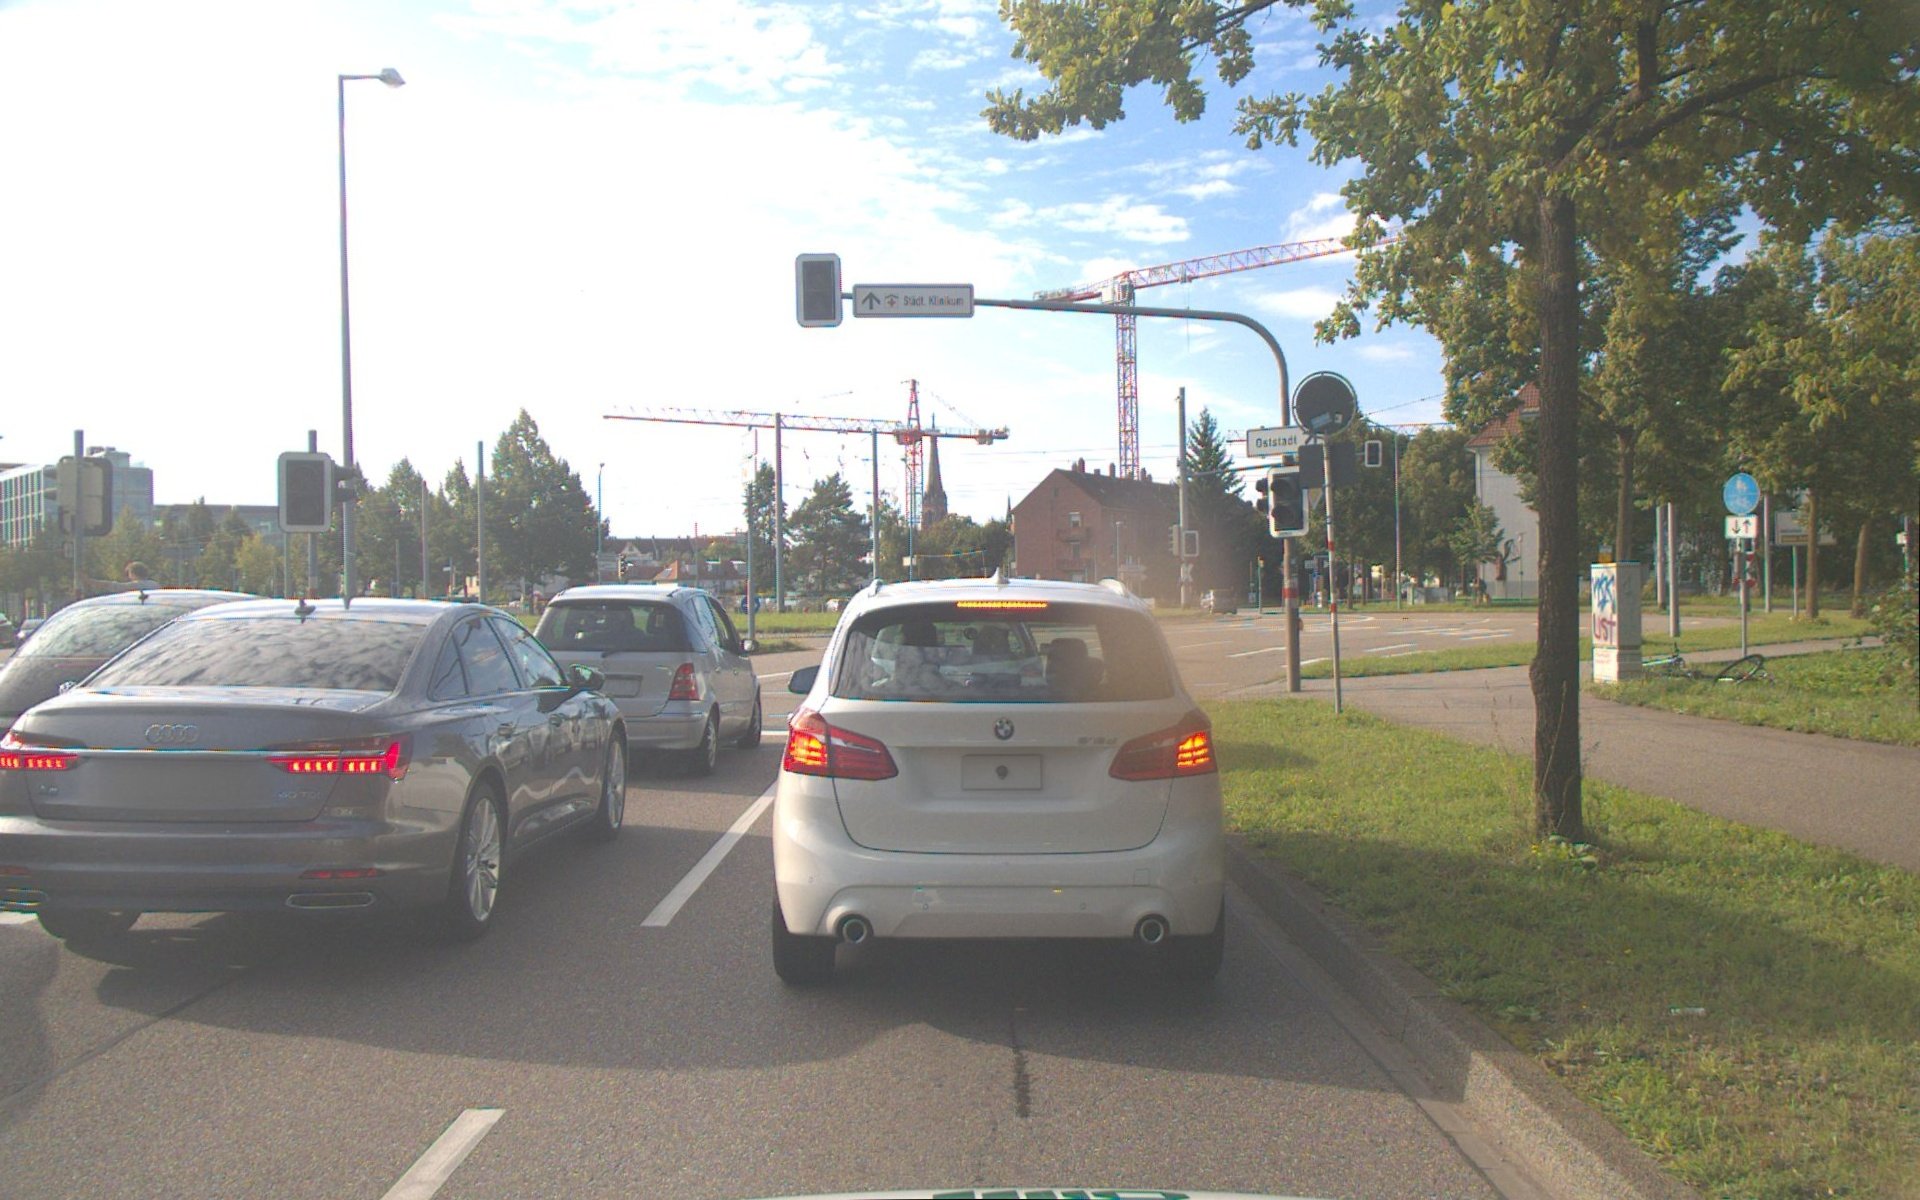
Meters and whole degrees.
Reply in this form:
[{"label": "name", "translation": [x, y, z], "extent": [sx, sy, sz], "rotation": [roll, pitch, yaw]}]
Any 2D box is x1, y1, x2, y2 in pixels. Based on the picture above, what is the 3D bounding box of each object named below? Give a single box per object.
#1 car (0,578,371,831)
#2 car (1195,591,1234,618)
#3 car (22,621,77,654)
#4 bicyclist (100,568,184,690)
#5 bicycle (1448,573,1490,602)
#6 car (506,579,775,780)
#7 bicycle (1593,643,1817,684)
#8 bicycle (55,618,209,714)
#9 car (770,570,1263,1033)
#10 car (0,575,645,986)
[{"label": "car", "translation": [-5.766, 0.636, 12.037], "extent": [1.646, 1.549, 3.809], "rotation": [0, 0, -1]}, {"label": "car", "translation": [15.504, 0.257, 100.814], "extent": [1.540, 1.601, 3.193], "rotation": [-1, 0, -7]}, {"label": "car", "translation": [-47.391, 1.916, 86.160], "extent": [1.759, 1.602, 3.979], "rotation": [-1, 0, -18]}, {"label": "bicyclist", "translation": [-10.720, 0.375, 21.697], "extent": [0.835, 1.553, 0.737], "rotation": [-1, 0, -17]}, {"label": "bicycle", "translation": [28.807, -0.689, 93.610], "extent": [0.884, 1.557, 2.266], "rotation": [2, -1, -30]}, {"label": "car", "translation": [-2.750, 0.624, 15.104], "extent": [1.694, 1.585, 4.057], "rotation": [0, 0, -1]}, {"label": "bicycle", "translation": [9.485, 0.799, 21.218], "extent": [1.382, 0.392, 2.569], "rotation": [-1, 0, -12]}, {"label": "bicycle", "translation": [-10.818, 0.848, 21.666], "extent": [1.698, 1.184, 0.653], "rotation": [-1, 0, -17]}, {"label": "car", "translation": [0.163, 0.685, 7.712], "extent": [1.694, 1.585, 4.057], "rotation": [0, 0, -1]}, {"label": "car", "translation": [-2.935, 0.677, 8.412], "extent": [1.851, 1.509, 4.612], "rotation": [0, 0, -1]}]
